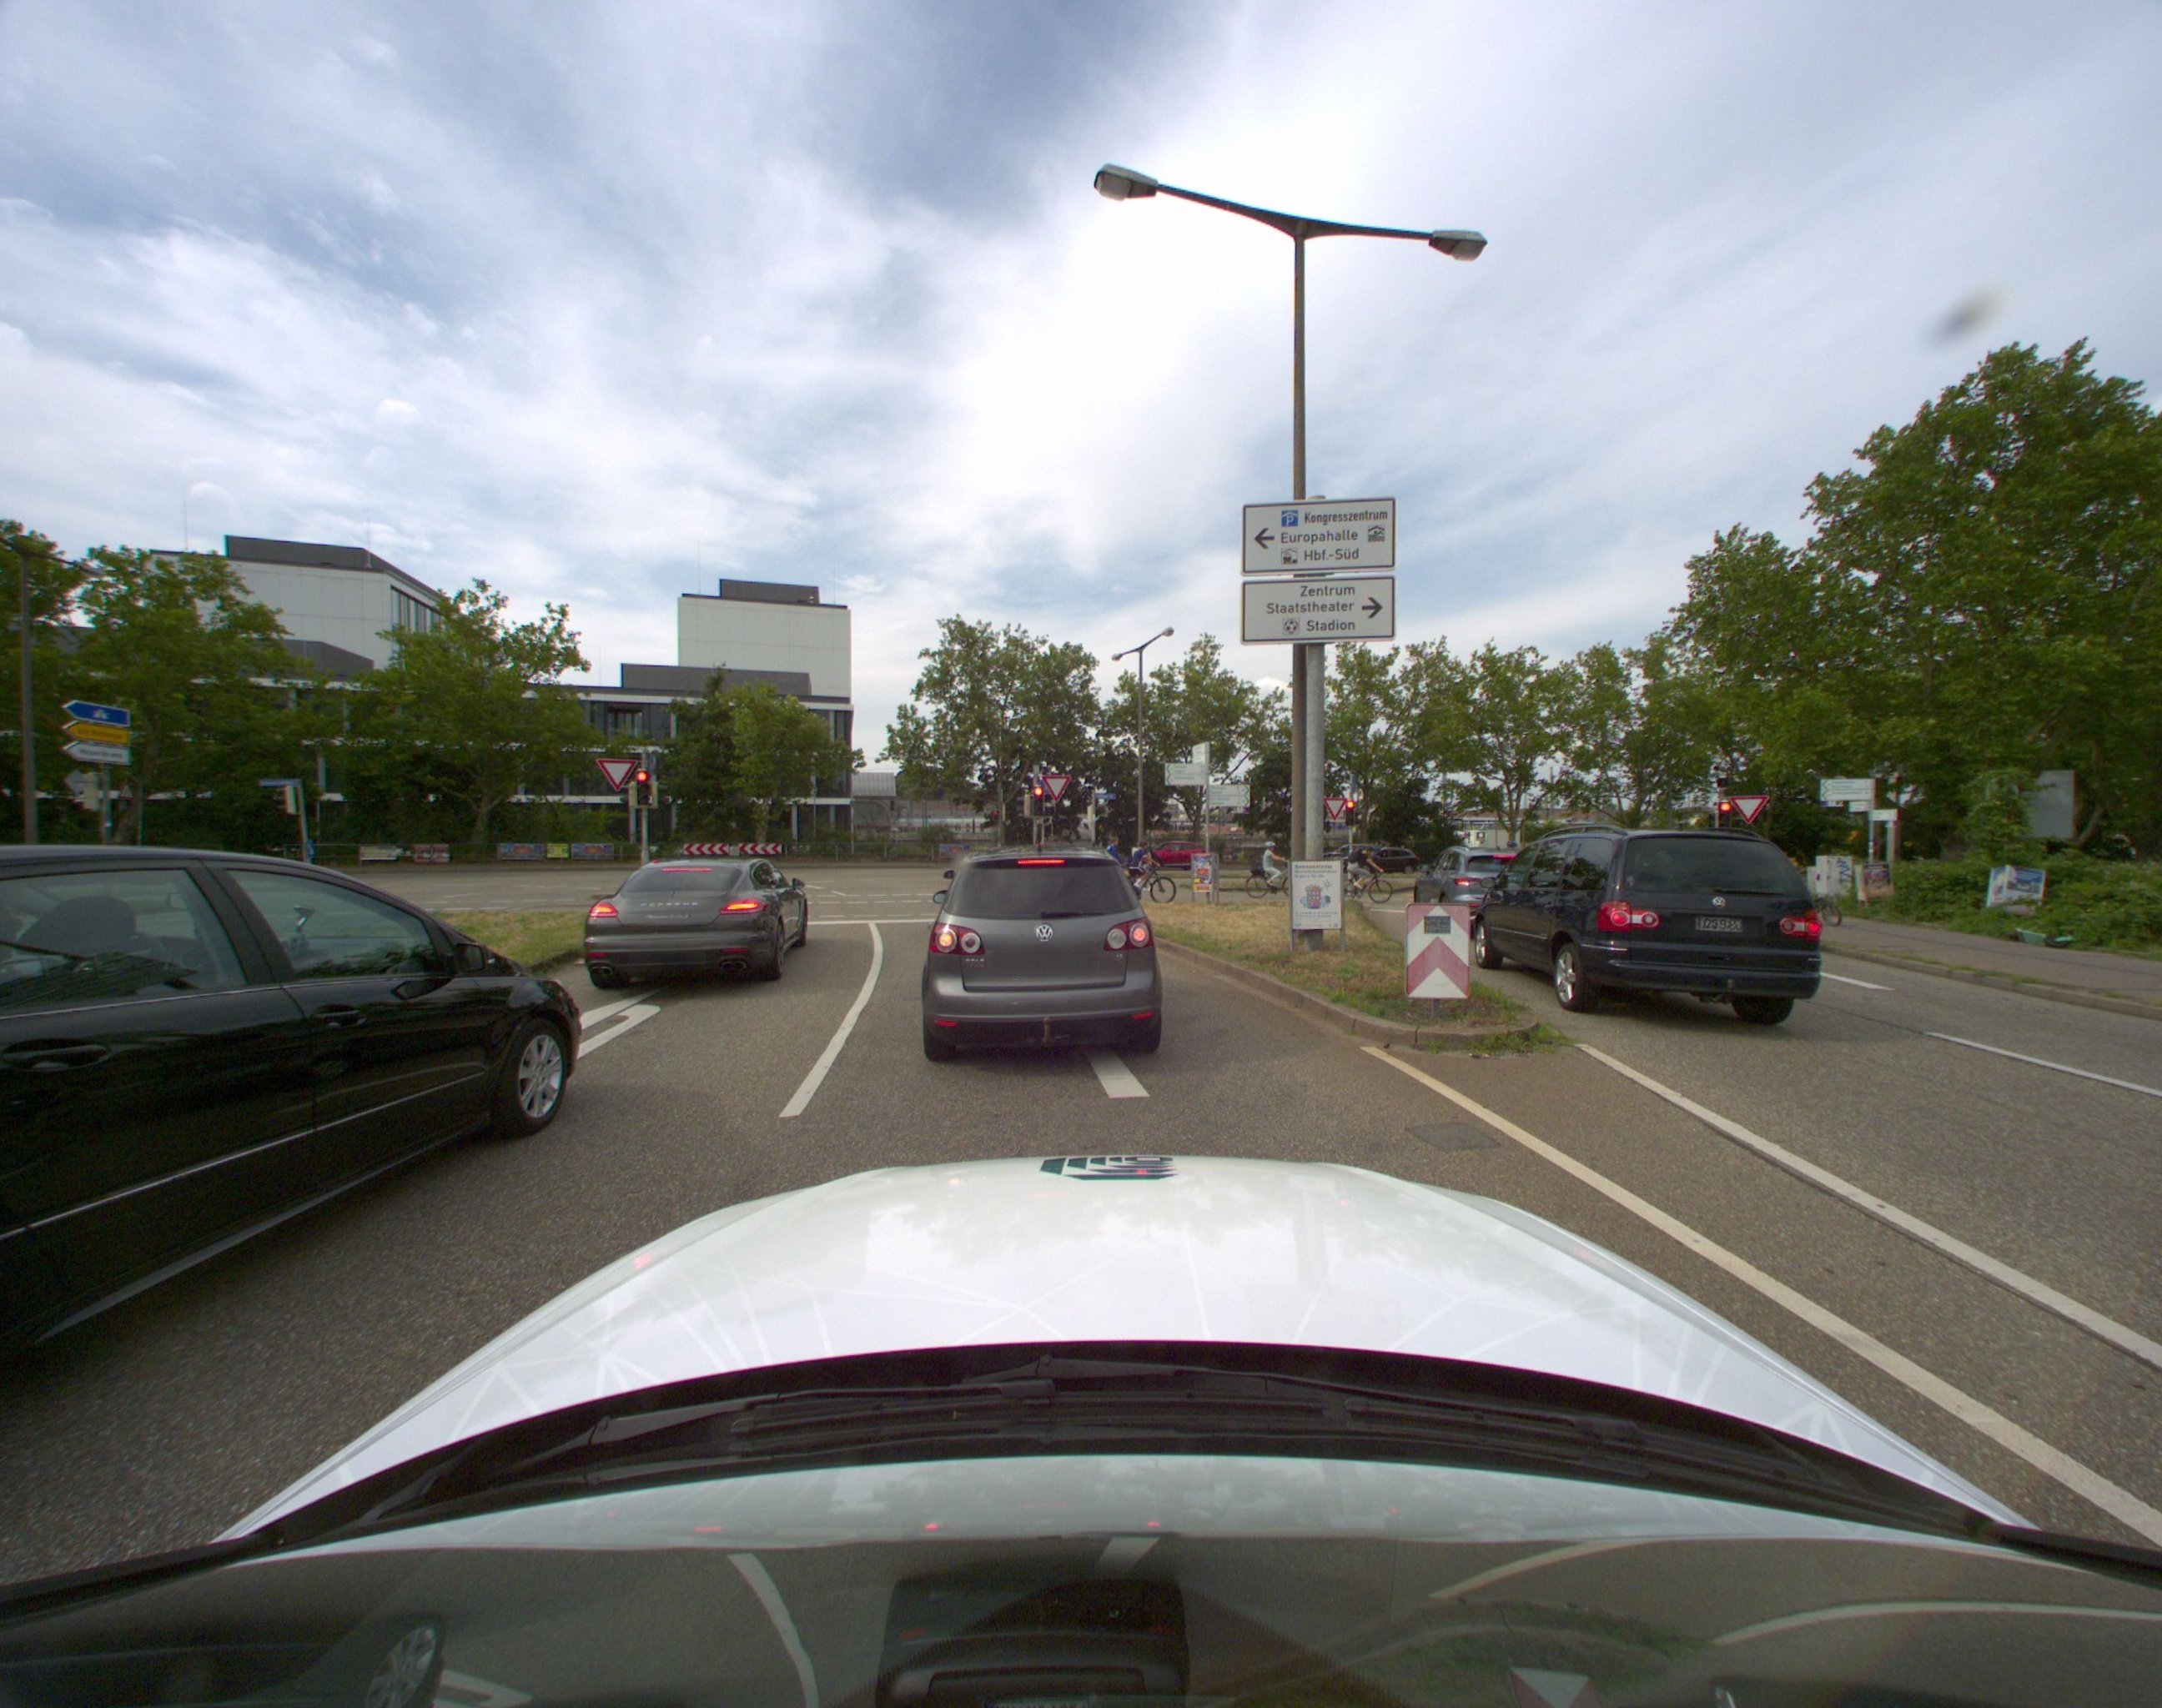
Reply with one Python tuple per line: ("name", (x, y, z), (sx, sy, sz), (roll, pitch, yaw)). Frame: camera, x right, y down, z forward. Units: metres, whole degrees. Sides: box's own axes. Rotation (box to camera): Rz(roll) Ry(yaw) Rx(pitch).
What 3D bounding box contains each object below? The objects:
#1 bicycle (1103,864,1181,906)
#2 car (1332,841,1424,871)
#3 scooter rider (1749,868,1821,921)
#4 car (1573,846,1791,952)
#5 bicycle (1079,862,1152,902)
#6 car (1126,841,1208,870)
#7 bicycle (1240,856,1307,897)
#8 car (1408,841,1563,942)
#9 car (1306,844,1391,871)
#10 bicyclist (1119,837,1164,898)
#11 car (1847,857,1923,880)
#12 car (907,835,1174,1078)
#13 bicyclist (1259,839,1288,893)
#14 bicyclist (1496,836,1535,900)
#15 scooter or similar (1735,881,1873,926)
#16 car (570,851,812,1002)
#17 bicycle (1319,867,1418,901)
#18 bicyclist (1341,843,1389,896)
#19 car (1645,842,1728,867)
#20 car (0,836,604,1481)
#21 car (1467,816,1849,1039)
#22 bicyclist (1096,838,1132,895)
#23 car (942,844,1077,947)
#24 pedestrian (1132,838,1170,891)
("bicycle", (1.572, 0.776, 21.057), (1.904, 1.013, 0.625), (-1, 1, -15))
("car", (15.460, 0.090, 42.438), (4.336, 1.448, 1.752), (-1, 0, -15))
("scooter rider", (15.698, 0.895, 18.178), (0.804, 1.137, 0.915), (0, -1, -4))
("car", (10.914, 0.715, 15.191), (1.738, 1.643, 4.152), (2, 0, 13))
("bicycle", (0.946, 0.751, 22.376), (1.905, 1.013, 0.625), (-1, 1, -17))
("car", (4.541, 0.078, 42.991), (3.963, 1.448, 1.692), (-1, 0, -19))
("bicycle", (5.778, 0.677, 24.475), (1.892, 1.210, 0.644), (0, 1, 4))
("car", (7.399, 0.609, 15.304), (1.679, 1.585, 4.171), (2, 0, 13))
("car", (15.249, 0.190, 46.476), (4.336, 1.448, 1.752), (-1, 0, -15))
("bicyclist", (1.553, 0.330, 21.032), (1.018, 1.539, 0.625), (-1, 1, -15))
("car", (54.394, 0.978, 55.124), (4.336, 1.448, 1.752), (-1, 0, -15))
("car", (-0.452, 0.648, 7.367), (1.739, 1.546, 4.073), (-1, 0, -6))
("bicyclist", (5.775, 0.358, 24.461), (0.776, 1.581, 0.656), (0, 1, 4))
("bicyclist", (11.674, 0.361, 21.891), (0.873, 1.656, 0.816), (0, 0, 26))
("scooter or similar", (15.711, 1.047, 17.800), (0.804, 0.849, 2.383), (0, 0, -4))
("car", (-4.624, 0.697, 10.435), (1.821, 1.414, 4.754), (0, 1, -13))
("bicycle", (8.060, 0.834, 22.868), (2.580, 0.890, 0.703), (0, 1, -6))
("bicyclist", (7.958, 0.419, 22.843), (1.112, 1.436, 0.646), (-1, 1, -6))
("car", (36.766, 0.013, 49.466), (4.336, 1.448, 1.752), (-1, 0, -15))
("car", (-3.644, 0.730, 2.968), (1.755, 1.575, 4.028), (0, 1, -6))
("car", (5.582, 0.573, 8.606), (1.739, 1.724, 4.151), (2, 0, 11))
("bicyclist", (0.905, 0.318, 22.354), (0.840, 1.529, 0.625), (-1, 1, -16))
("car", (-1.385, 0.598, 14.112), (1.743, 1.482, 4.063), (-1, 0, -14))
("pedestrian", (2.326, 0.337, 27.174), (1.047, 1.710, 0.851), (0, 1, -10))
